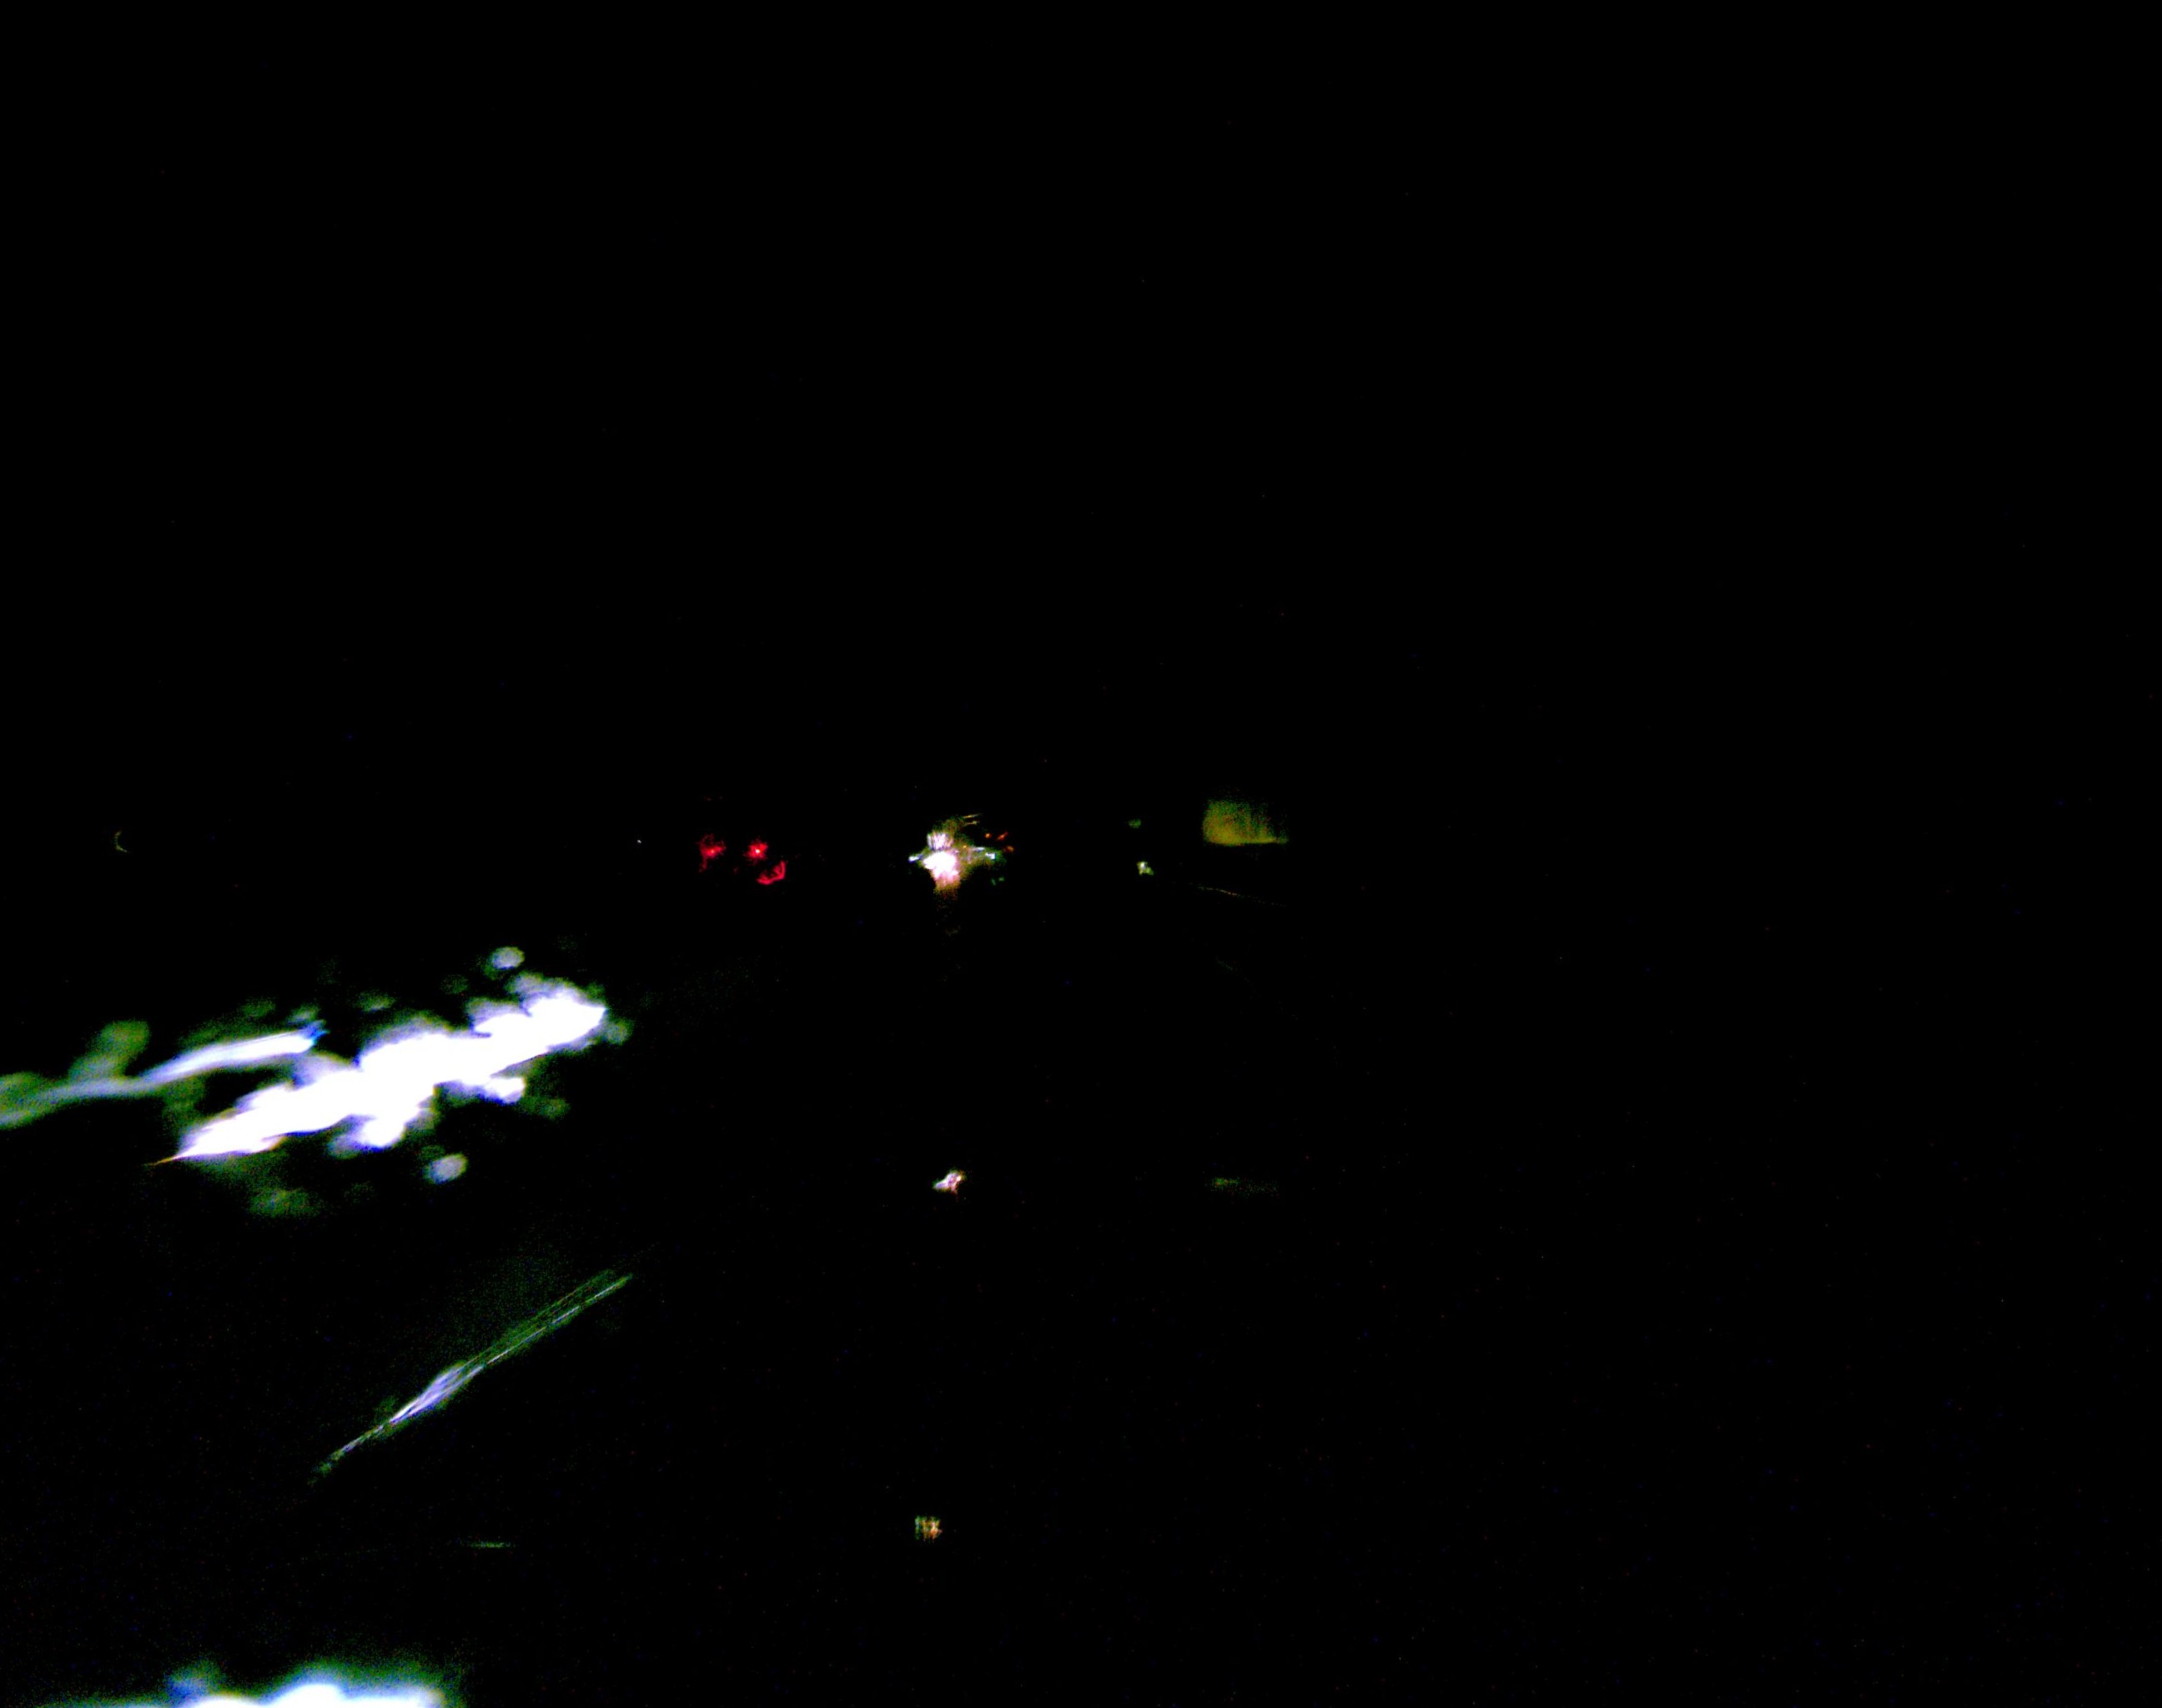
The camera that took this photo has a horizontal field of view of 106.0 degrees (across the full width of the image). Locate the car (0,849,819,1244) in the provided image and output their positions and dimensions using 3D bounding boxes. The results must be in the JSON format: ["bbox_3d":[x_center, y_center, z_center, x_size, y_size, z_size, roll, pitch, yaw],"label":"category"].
[{"bbox_3d":[-3.631,0.825,5.751,1.987,1.613,4.611,-2,0,0],"label":"car"}]

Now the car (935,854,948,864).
[{"bbox_3d":[-23.230,0.838,135.593,1.882,1.600,3.884,-1,0,-11],"label":"car"}]
